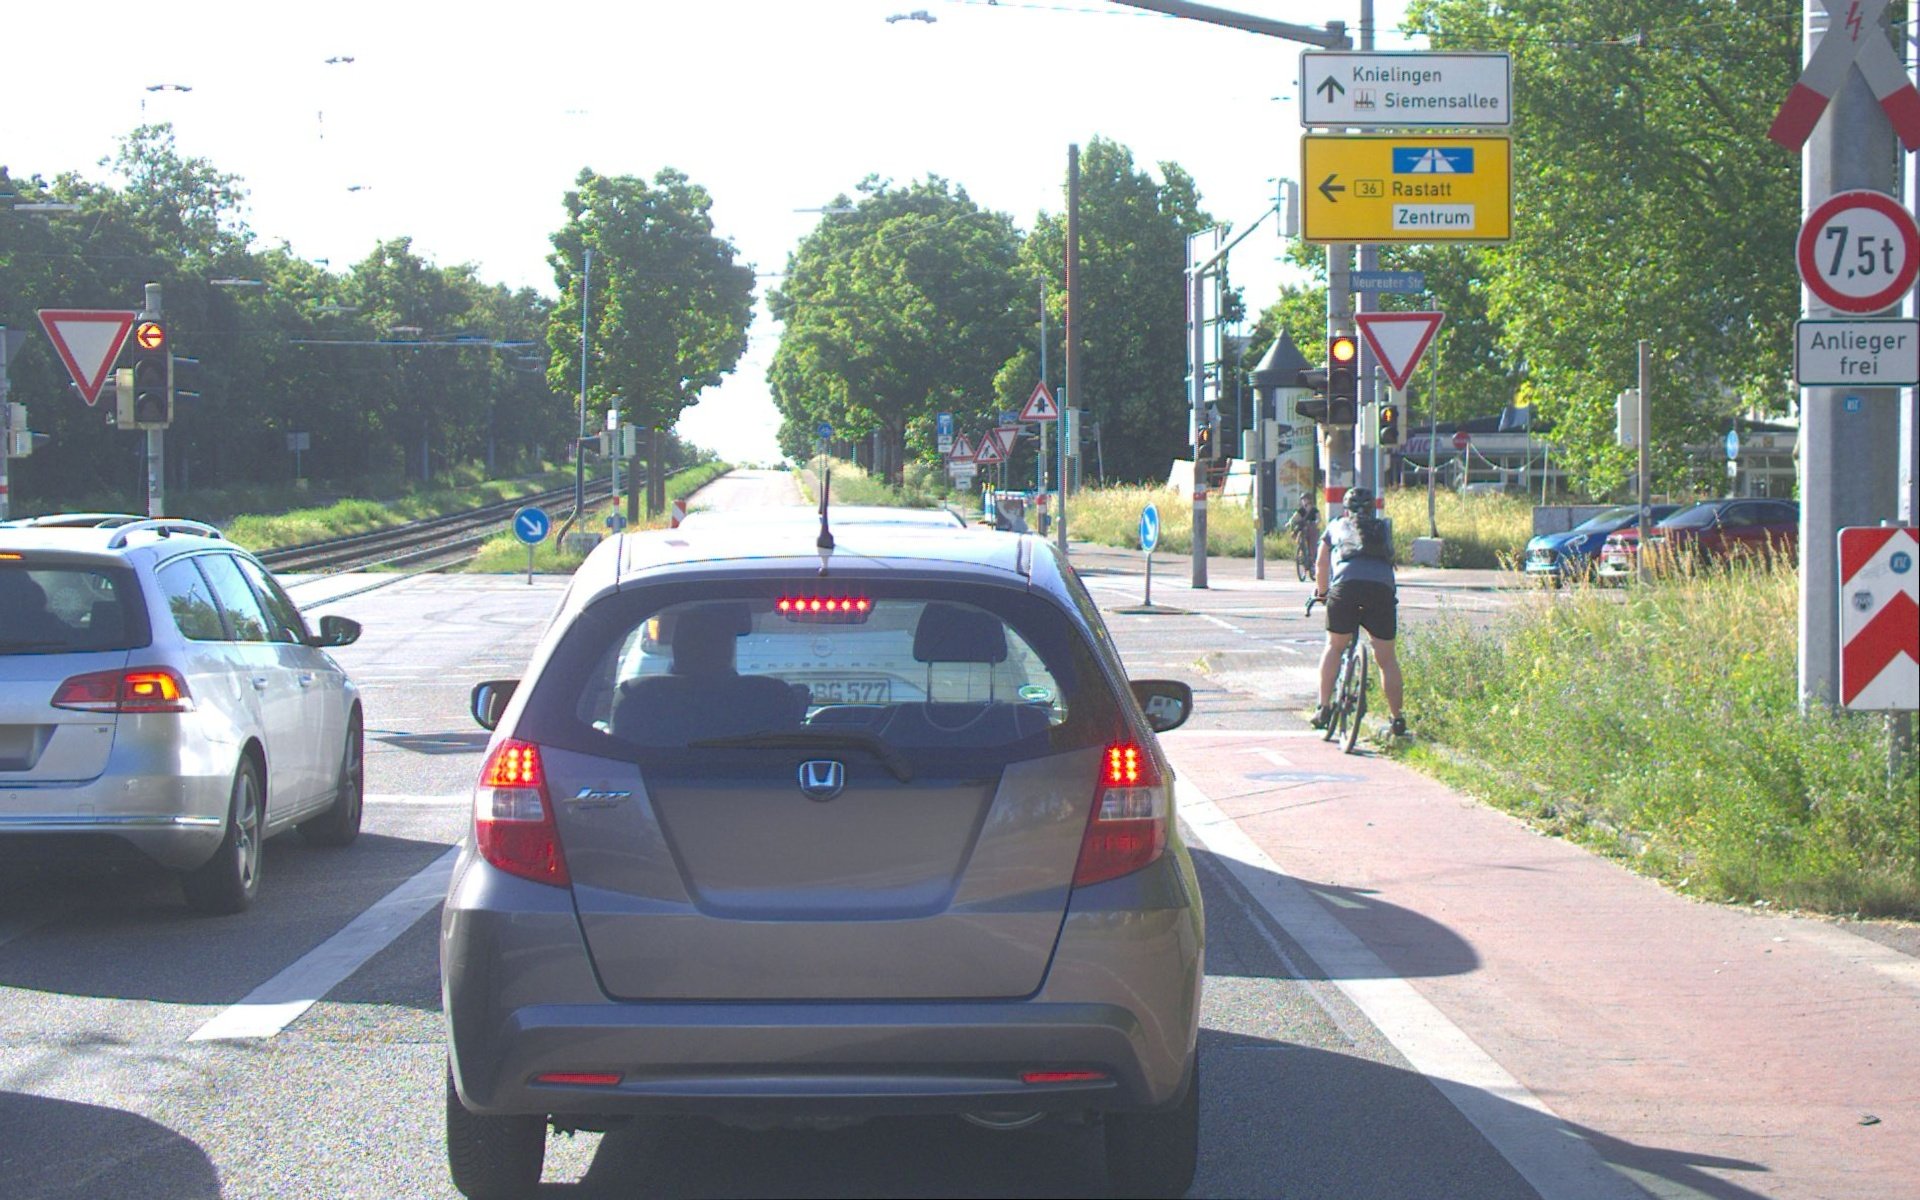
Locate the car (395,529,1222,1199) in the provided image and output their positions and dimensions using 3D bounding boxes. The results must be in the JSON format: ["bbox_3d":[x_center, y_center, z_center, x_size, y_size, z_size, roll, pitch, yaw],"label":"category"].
[{"bbox_3d":[-0.392,0.556,8.744,1.668,1.457,3.587,0,1,-3],"label":"car"}]

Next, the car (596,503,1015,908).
[{"bbox_3d":[-0.638,0.359,15.378,1.611,1.557,4.288,0,1,-1],"label":"car"}]

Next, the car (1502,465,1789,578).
[{"bbox_3d":[12.277,-1.390,61.583,4.686,1.873,2.001,1,1,-23],"label":"car"}]

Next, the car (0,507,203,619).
[{"bbox_3d":[-11.605,-0.496,44.035,1.526,1.374,3.669,0,2,34],"label":"car"}]

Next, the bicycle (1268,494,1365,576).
[{"bbox_3d":[6.994,-1.289,67.333,0.819,1.569,3.210,0,2,26],"label":"bicycle"}]

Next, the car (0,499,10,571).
[{"bbox_3d":[-22.207,-1.428,75.512,1.993,1.599,4.757,1,2,-8],"label":"car"}]

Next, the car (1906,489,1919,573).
[{"bbox_3d":[20.132,-1.261,64.977,3.986,1.573,1.881,1,1,-21],"label":"car"}]

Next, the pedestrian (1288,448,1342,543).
[{"bbox_3d":[6.948,-2.043,67.224,0.789,1.830,0.854,0,1,27],"label":"pedestrian"}]

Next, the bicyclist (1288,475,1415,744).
[{"bbox_3d":[2.560,0.054,22.541,0.666,1.710,0.948,1,1,-1],"label":"bicyclist"}]

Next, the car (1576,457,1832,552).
[{"bbox_3d":[12.442,-1.604,57.477,3.986,1.525,1.606,-1,2,-23],"label":"car"}]

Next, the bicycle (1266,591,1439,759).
[{"bbox_3d":[2.548,0.457,22.628,0.722,0.985,2.876,1,1,-1],"label":"bicycle"}]

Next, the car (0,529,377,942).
[{"bbox_3d":[-3.526,0.441,14.166,1.619,1.452,4.085,1,1,-1],"label":"car"}]

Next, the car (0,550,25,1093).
[{"bbox_3d":[-3.290,0.610,7.514,1.619,1.413,3.351,-1,1,-1],"label":"car"}]
